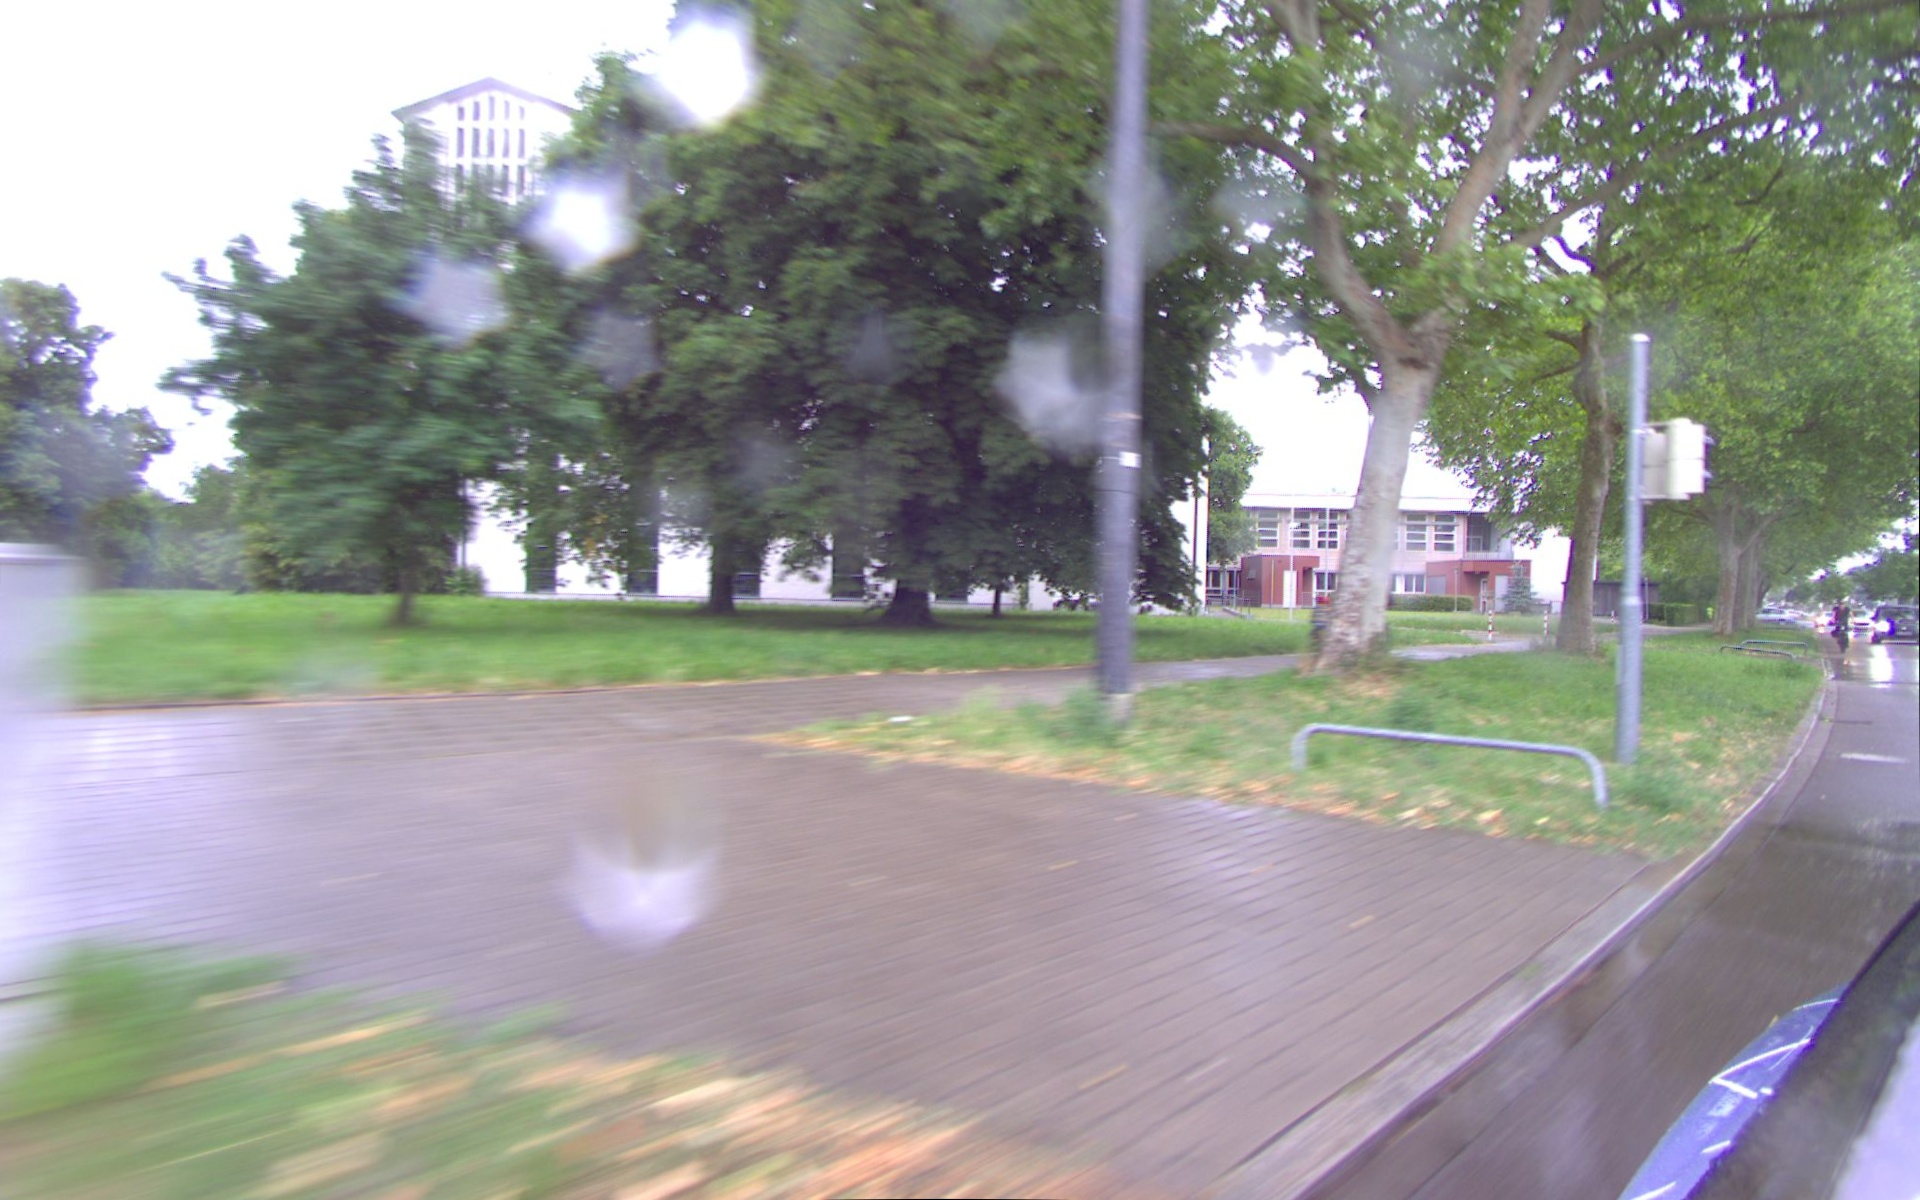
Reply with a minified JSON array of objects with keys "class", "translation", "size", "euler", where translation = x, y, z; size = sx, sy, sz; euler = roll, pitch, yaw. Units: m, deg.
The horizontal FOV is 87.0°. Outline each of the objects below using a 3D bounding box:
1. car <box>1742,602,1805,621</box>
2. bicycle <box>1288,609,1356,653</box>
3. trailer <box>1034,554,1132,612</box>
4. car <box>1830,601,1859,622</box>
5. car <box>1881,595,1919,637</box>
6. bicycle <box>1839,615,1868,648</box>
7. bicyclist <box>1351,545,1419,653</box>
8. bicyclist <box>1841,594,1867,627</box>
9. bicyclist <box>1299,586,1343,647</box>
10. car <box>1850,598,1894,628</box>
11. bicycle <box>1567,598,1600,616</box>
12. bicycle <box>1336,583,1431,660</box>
[{"class":"car","translation":[71.485,1.008,89.001],"size":[3.969,1.505,1.627],"euler":[2,1,22]},{"class":"bicycle","translation":[6.356,0.536,17.760],"size":[1.432,0.717,0.487],"euler":[0,1,-41]},{"class":"trailer","translation":[5.228,-0.720,43.341],"size":[3.946,2.337,1.891],"euler":[2,0,2]},{"class":"car","translation":[79.273,1.036,90.737],"size":[1.760,1.746,3.880],"euler":[2,1,38]},{"class":"car","translation":[40.707,0.684,43.258],"size":[1.760,1.747,3.876],"euler":[-1,-2,40]},{"class":"bicycle","translation":[30.530,1.056,34.574],"size":[0.657,1.026,2.222],"euler":[2,1,43]},{"class":"bicyclist","translation":[7.079,-0.039,16.855],"size":[0.941,1.742,0.712],"euler":[-2,2,-42]},{"class":"bicyclist","translation":[30.535,0.348,34.556],"size":[0.620,1.098,0.615],"euler":[2,1,43]},{"class":"bicyclist","translation":[6.330,0.283,17.735],"size":[0.581,1.051,0.488],"euler":[0,1,-41]},{"class":"car","translation":[53.853,0.740,59.819],"size":[1.760,1.747,3.878],"euler":[0,0,39]},{"class":"bicycle","translation":[41.303,0.467,67.014],"size":[1.899,1.135,0.522],"euler":[2,2,-6]},{"class":"bicycle","translation":[7.079,0.323,16.875],"size":[1.938,1.156,0.712],"euler":[-2,3,-42]}]
